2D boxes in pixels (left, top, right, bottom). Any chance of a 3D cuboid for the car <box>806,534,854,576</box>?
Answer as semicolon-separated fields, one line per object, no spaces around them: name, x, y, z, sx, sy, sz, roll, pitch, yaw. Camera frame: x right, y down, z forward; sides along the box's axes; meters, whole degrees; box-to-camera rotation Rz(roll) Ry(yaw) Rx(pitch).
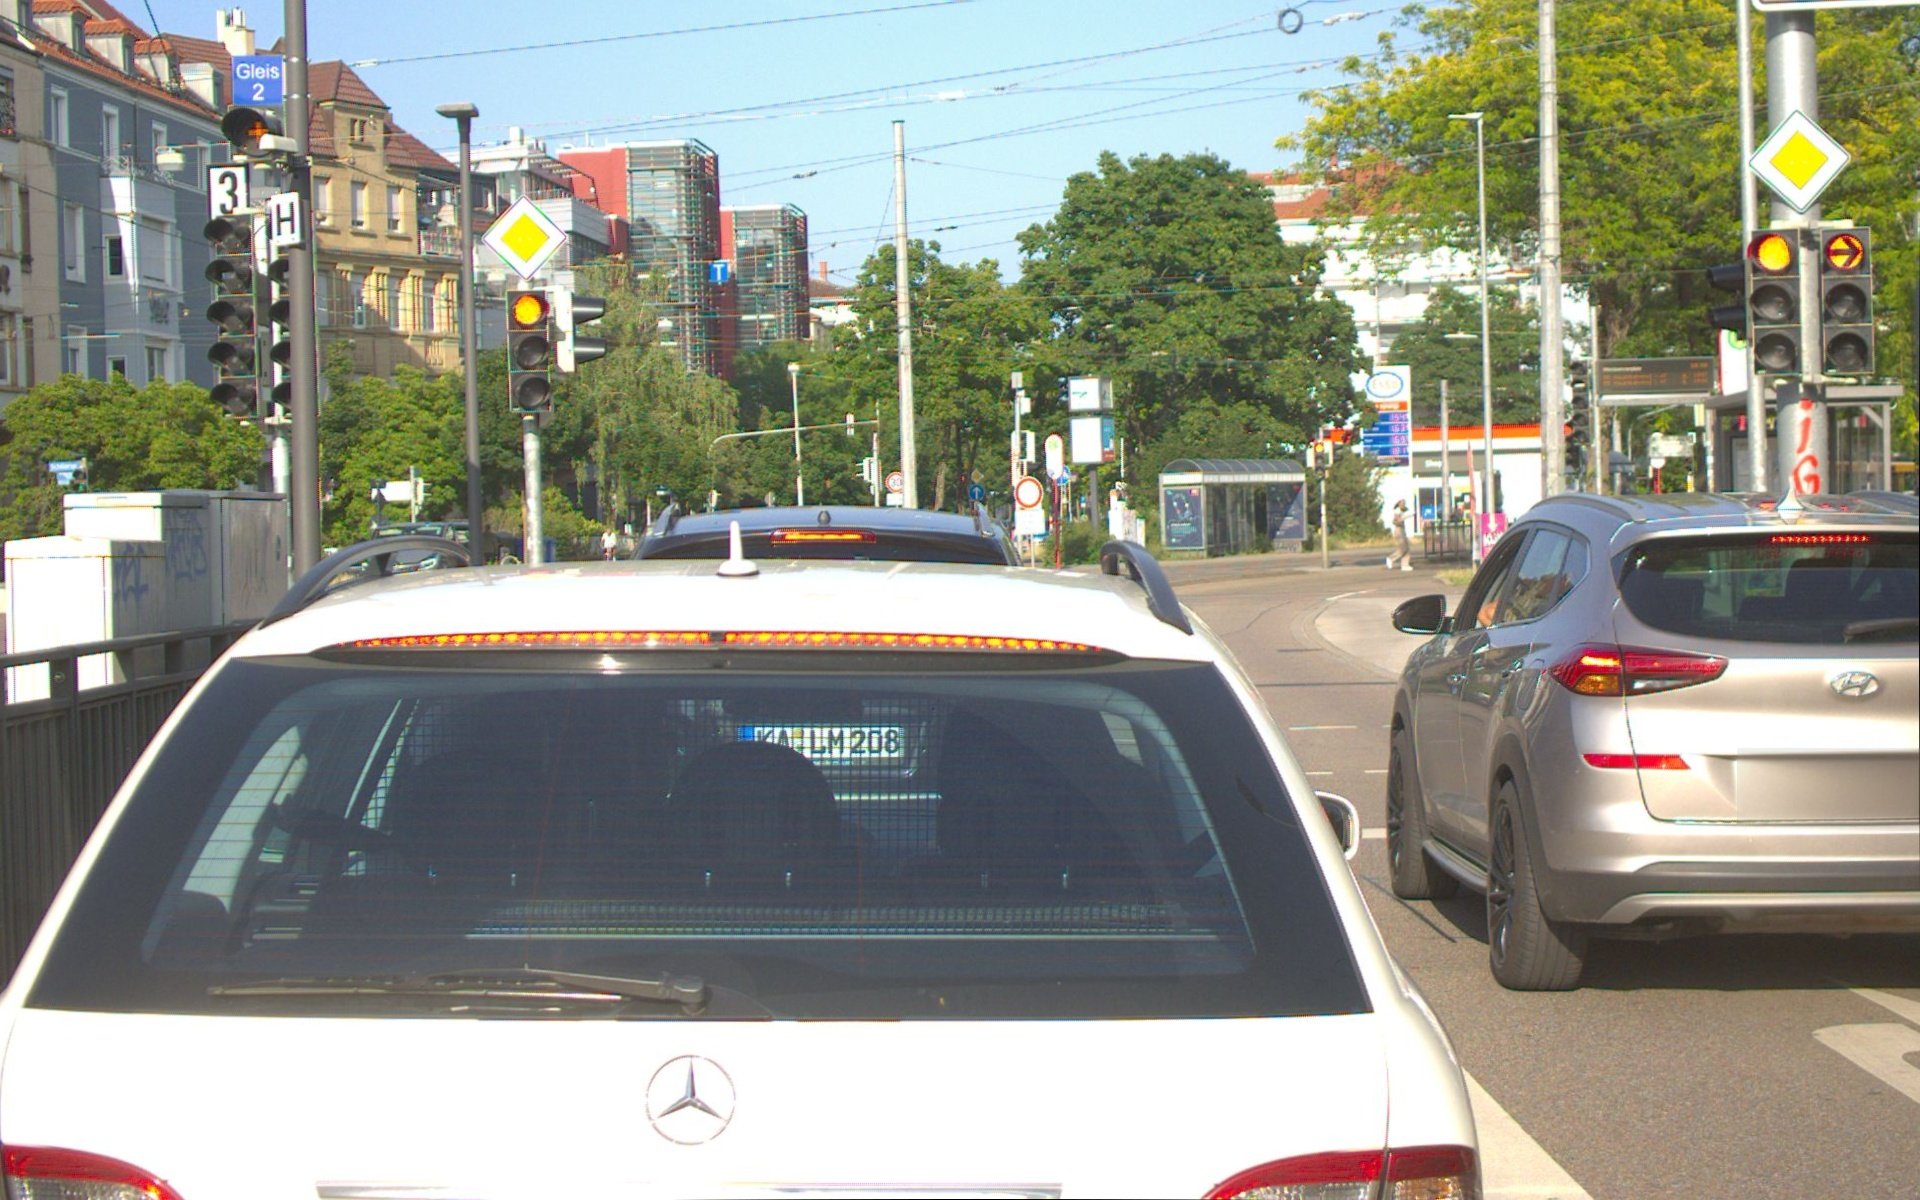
car;-5.150;-1.808;136.713;1.676;1.520;4.125;-2;2;0

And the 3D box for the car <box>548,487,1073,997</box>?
car;-0.490;0.403;12.666;1.641;1.594;3.815;0;1;-1

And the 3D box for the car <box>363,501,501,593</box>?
car;-12.201;-1.256;79.746;2.145;2.007;5.387;-2;1;2

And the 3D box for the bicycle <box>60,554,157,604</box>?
bicycle;-18.027;-0.452;72.808;0.741;1.003;1.993;-1;1;34

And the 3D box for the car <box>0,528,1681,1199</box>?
car;-0.279;0.646;5.068;1.835;1.496;3.815;0;1;-1

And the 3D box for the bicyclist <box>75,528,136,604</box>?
bicyclist;-18.071;-0.716;72.733;0.660;1.564;1.041;-1;1;32

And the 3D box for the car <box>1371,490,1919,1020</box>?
car;2.634;0.427;12.248;1.835;1.594;3.815;0;1;-1

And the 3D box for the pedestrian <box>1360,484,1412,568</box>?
pedestrian;10.303;-1.795;83.127;0.997;2.007;0.827;-1;1;27
